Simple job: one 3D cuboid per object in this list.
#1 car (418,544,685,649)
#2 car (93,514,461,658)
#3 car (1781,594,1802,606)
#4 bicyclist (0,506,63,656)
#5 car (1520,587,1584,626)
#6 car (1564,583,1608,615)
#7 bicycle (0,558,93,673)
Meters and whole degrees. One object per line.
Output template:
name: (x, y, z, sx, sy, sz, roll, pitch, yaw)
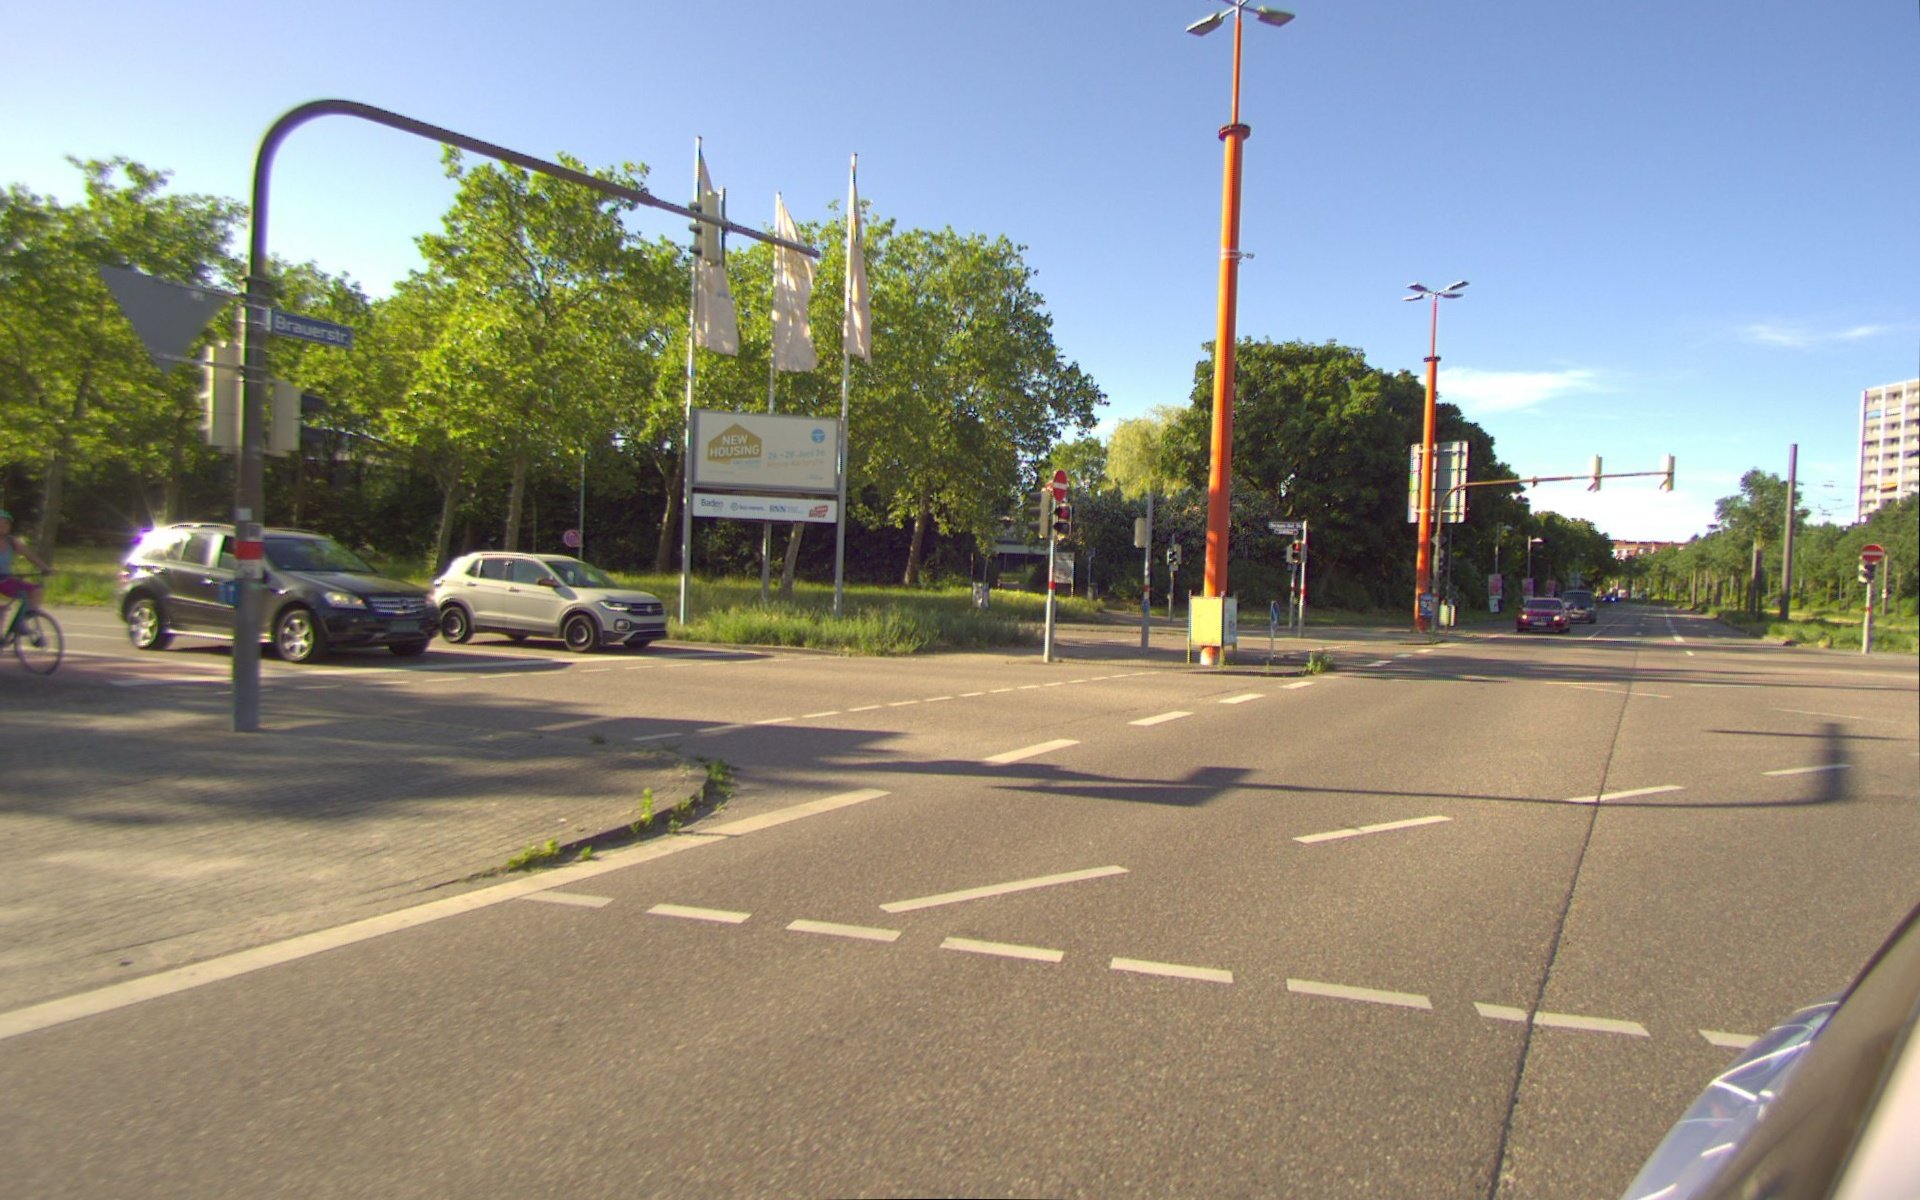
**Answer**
car: (-6.972, -0.096, 17.358, 4.036, 1.558, 1.764, 2, 1, 17)
car: (-9.635, -0.246, 14.316, 4.592, 1.748, 1.898, 2, 1, 18)
car: (127.652, -0.052, 155.443, 1.986, 1.725, 4.637, 2, 1, 33)
bicyclist: (-10.464, -0.223, 10.988, 0.971, 1.577, 0.755, 3, 2, 25)
car: (25.364, 0.253, 43.306, 1.987, 1.513, 4.236, 3, 2, 35)
car: (37.920, -0.071, 61.259, 1.987, 1.753, 4.758, 3, 2, 35)
bicycle: (-10.400, 0.126, 10.971, 1.994, 1.105, 0.760, 3, 2, 25)
